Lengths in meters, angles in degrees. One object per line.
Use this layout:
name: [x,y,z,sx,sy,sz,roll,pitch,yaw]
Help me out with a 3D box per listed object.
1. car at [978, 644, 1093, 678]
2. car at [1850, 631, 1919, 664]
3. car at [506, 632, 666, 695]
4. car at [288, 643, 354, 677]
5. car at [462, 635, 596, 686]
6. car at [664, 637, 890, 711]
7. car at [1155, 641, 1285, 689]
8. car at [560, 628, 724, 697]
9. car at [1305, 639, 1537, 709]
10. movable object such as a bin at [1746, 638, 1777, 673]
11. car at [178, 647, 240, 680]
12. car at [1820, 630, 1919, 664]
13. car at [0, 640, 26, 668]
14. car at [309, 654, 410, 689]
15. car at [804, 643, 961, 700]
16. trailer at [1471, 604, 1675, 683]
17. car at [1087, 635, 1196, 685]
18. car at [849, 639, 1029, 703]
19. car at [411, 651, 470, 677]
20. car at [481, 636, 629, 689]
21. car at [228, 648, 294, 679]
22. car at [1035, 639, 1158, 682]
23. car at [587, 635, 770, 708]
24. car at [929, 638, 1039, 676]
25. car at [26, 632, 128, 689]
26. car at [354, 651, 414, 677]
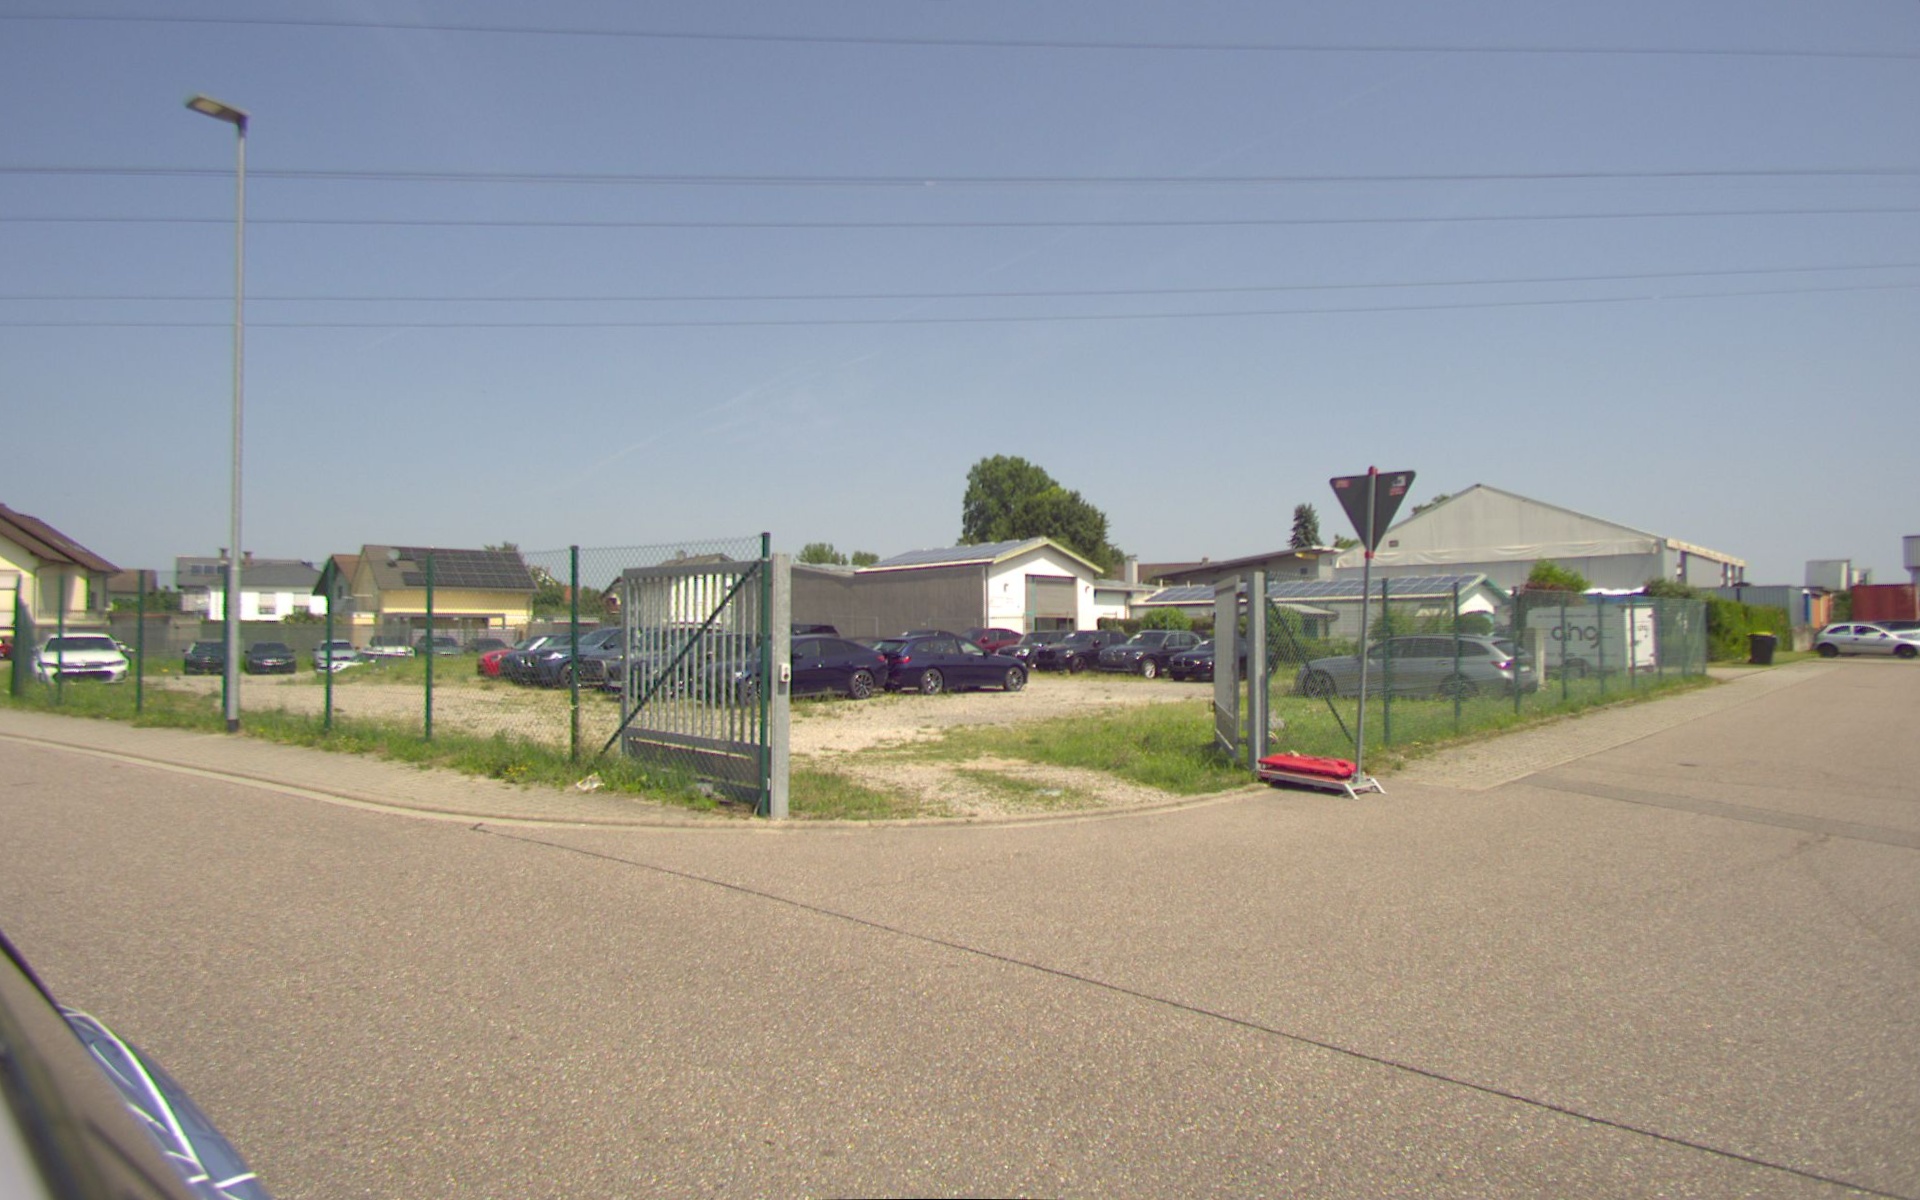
car: [2.956,2.297,38.826,4.535,1.184,1.870,2,-3,-44]
car: [39.762,1.982,42.597,3.336,1.352,1.642,-2,-3,44]
car: [-10.151,1.679,27.597,3.642,1.573,1.870,2,-3,-44]
car: [-31.942,2.950,50.550,2.011,1.548,4.139,2,-3,-43]
car: [-13.392,1.851,31.521,3.389,1.464,1.870,2,-3,-44]
car: [-3.954,1.565,22.405,4.595,1.446,2.003,2,-3,-44]
car: [8.530,2.065,32.945,4.595,1.446,2.003,2,-3,-44]
car: [-8.201,1.577,26.238,3.579,1.656,1.870,2,-3,-44]
car: [9.293,1.444,20.662,1.217,1.270,4.145,2,-3,-44]
movable object such as a bin: [26.881,1.857,33.948,0.748,1.143,0.927,-2,-3,41]
car: [-35.057,2.906,47.200,1.840,1.381,4.567,2,-3,-43]
car: [37.619,1.891,41.284,1.641,1.352,3.687,2,-3,-44]
car: [-64.083,3.561,67.233,1.834,1.741,4.148,1,-2,-26]
car: [-24.863,2.939,41.945,3.339,1.325,1.661,2,-3,-42]
car: [-2.110,1.914,28.077,3.938,1.431,2.003,2,-3,-42]
trailer: [16.519,1.168,27.554,1.685,1.960,4.476,1,-2,-29]
car: [6.207,2.002,34.447,3.714,1.566,1.870,2,-3,-44]
car: [-0.493,1.760,26.026,4.352,1.446,2.005,1,-2,-40]
car: [-27.912,3.408,54.287,1.767,1.245,4.139,2,-3,-43]
car: [-11.895,1.791,29.833,3.594,1.444,1.870,2,-3,-44]
car: [-33.746,3.039,48.808,2.011,1.353,4.422,2,-3,-43]
car: [4.977,2.128,36.579,4.595,1.446,2.003,2,-3,-44]
car: [-6.560,1.621,23.809,3.714,1.566,1.870,2,-3,-44]
car: [1.029,2.262,41.144,4.535,1.444,1.870,2,-3,-44]
car: [-22.935,1.507,26.231,1.840,1.317,4.567,2,-3,-43]
car: [-29.965,3.307,52.594,1.767,1.245,4.139,2,-3,-43]
